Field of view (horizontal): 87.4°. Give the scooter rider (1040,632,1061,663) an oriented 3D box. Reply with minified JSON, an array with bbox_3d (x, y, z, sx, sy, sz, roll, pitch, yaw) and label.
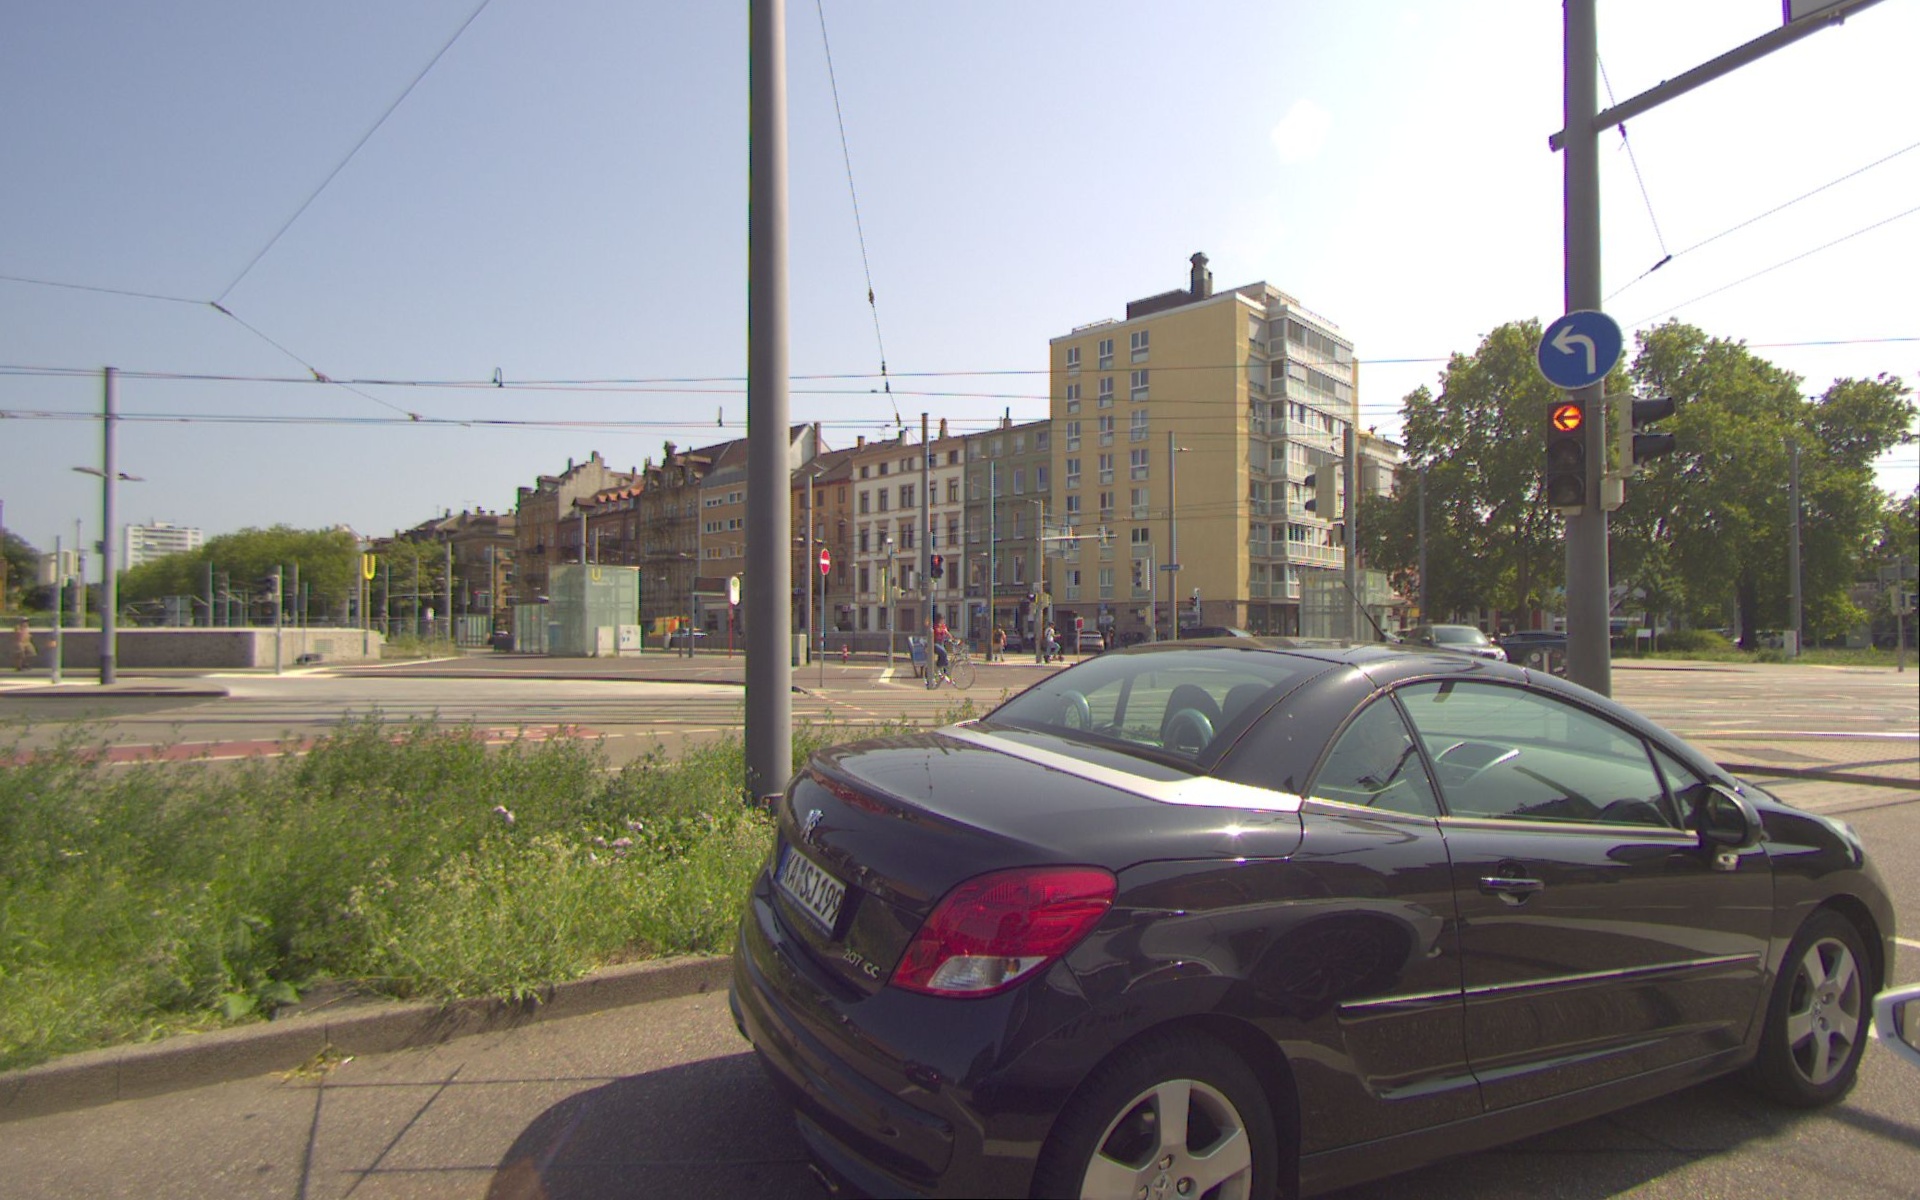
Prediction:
[{"bbox_3d":[3.980,2.078,44.251,0.602,1.371,0.682,1,-2,-35],"label":"scooter rider"}]

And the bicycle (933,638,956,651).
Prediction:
[{"bbox_3d":[-1.198,3.460,78.246,1.787,0.954,0.567,-1,-2,30],"label":"bicycle"}]

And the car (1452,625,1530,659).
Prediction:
[{"bbox_3d":[33.392,2.613,63.237,3.946,2.040,1.919,-1,-2,44],"label":"car"}]

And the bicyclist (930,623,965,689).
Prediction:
[{"bbox_3d":[-0.304,1.326,23.919,0.632,1.529,0.553,1,-2,-36],"label":"bicyclist"}]

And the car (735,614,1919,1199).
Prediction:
[{"bbox_3d":[1.315,0.789,3.273,3.728,1.406,1.761,1,0,-24],"label":"car"}]

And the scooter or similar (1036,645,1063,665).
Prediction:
[{"bbox_3d":[3.940,2.392,44.027,1.132,0.835,0.517,1,-2,-35],"label":"scooter or similar"}]

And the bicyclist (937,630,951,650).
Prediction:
[{"bbox_3d":[-1.261,3.117,78.285,0.896,1.528,0.558,-1,-2,29],"label":"bicyclist"}]

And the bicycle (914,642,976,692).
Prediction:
[{"bbox_3d":[-0.378,1.573,23.896,0.499,1.108,1.918,1,-2,-35],"label":"bicycle"}]

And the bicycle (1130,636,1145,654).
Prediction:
[{"bbox_3d":[12.062,3.054,68.232,0.680,1.220,3.265,0,-2,5],"label":"bicycle"}]

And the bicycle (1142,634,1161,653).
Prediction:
[{"bbox_3d":[12.818,2.911,67.392,0.892,1.220,3.265,0,-2,5],"label":"bicycle"}]

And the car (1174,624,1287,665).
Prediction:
[{"bbox_3d":[10.891,1.767,40.647,1.728,1.581,4.153,2,-2,-44],"label":"car"}]

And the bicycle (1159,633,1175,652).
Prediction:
[{"bbox_3d":[13.673,2.807,66.427,0.680,1.220,3.265,0,-2,5],"label":"bicycle"}]

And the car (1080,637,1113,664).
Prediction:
[{"bbox_3d":[8.315,3.067,61.402,1.712,1.528,4.002,0,-2,4],"label":"car"}]

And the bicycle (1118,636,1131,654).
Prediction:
[{"bbox_3d":[11.303,3.094,69.083,0.680,1.220,2.793,0,-2,5],"label":"bicycle"}]

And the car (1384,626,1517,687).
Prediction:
[{"bbox_3d":[13.985,1.564,28.951,1.736,1.621,4.545,0,-2,2],"label":"car"}]

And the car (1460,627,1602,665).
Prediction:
[{"bbox_3d":[22.858,1.813,40.314,4.700,1.434,1.767,-1,-2,42],"label":"car"}]

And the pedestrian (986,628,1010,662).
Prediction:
[{"bbox_3d":[1.731,2.054,45.921,0.852,1.563,0.735,2,-2,-40],"label":"pedestrian"}]
